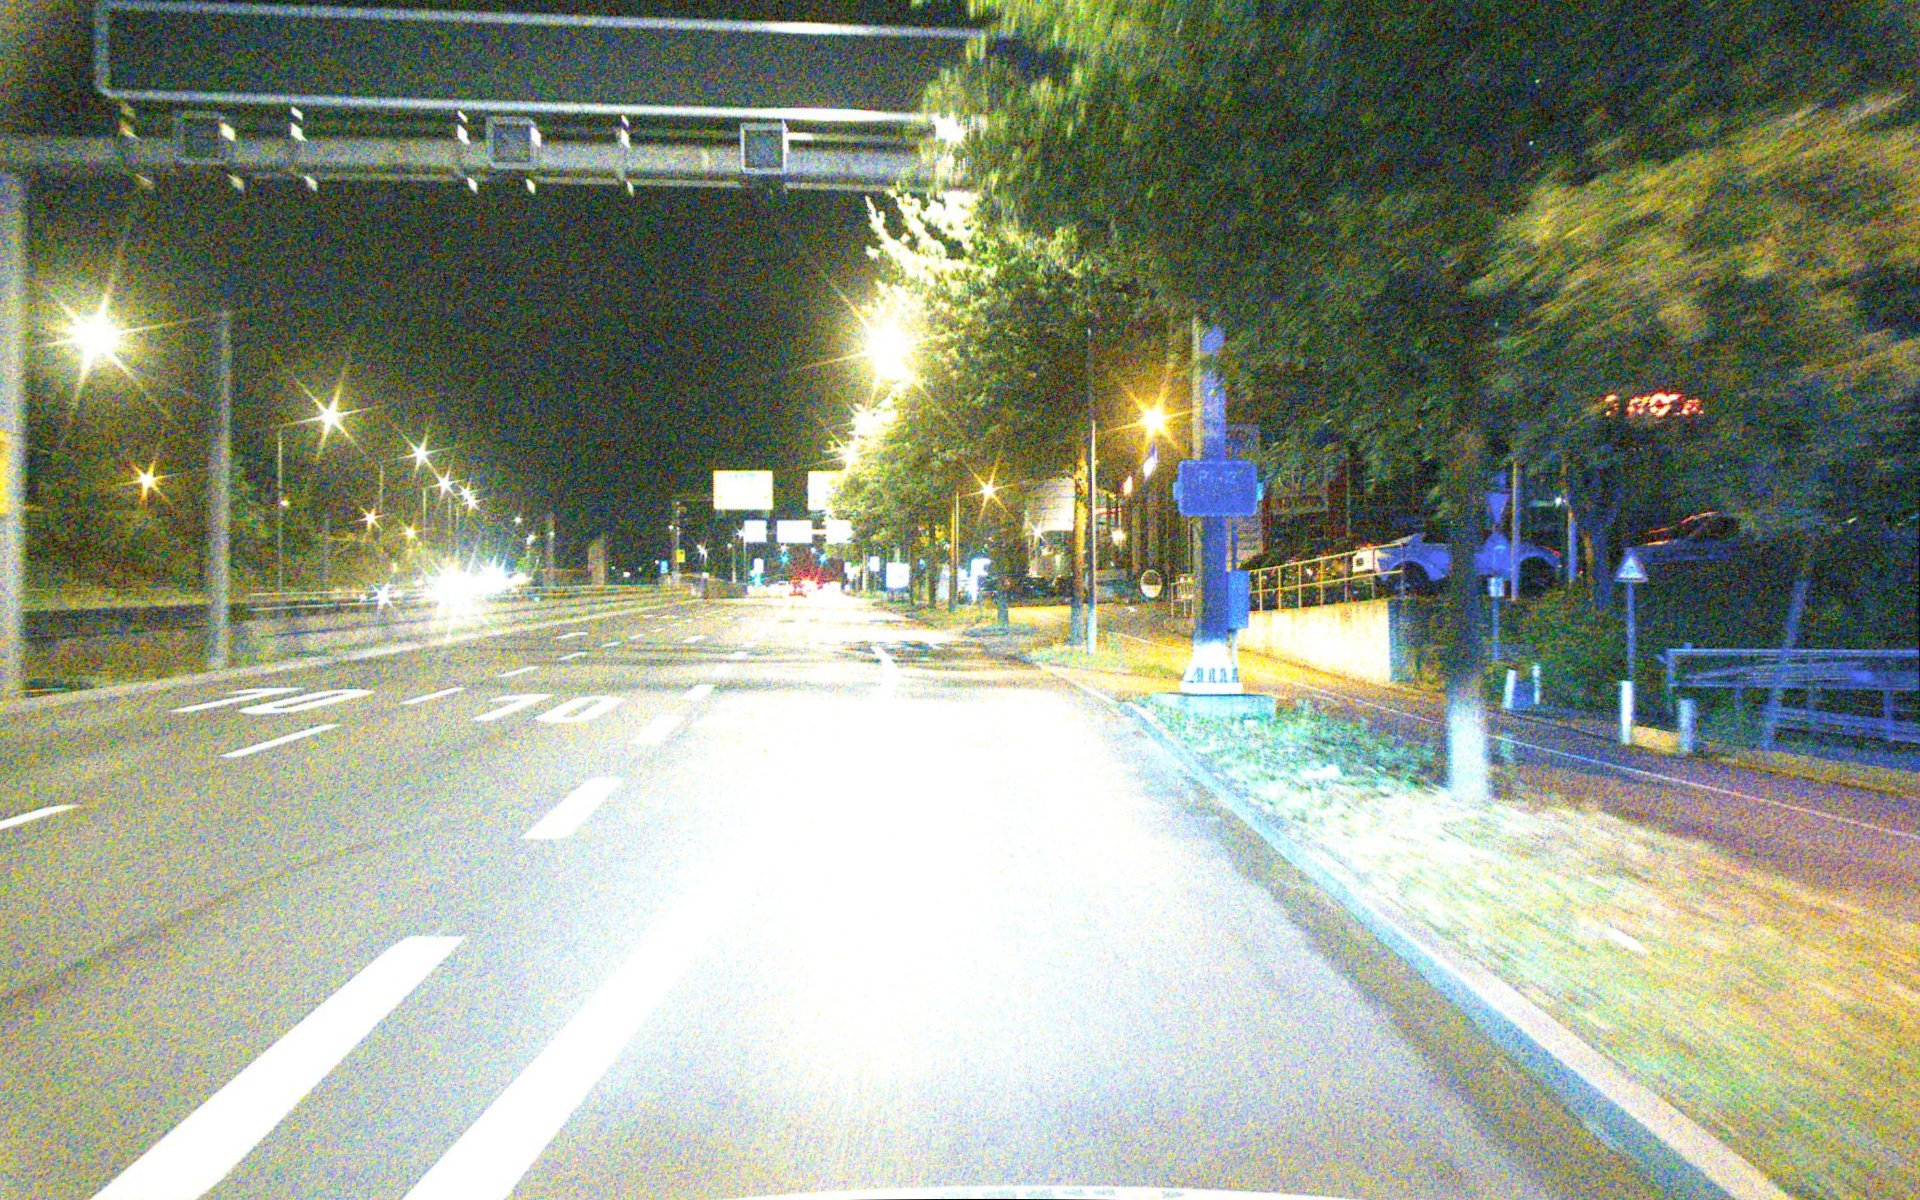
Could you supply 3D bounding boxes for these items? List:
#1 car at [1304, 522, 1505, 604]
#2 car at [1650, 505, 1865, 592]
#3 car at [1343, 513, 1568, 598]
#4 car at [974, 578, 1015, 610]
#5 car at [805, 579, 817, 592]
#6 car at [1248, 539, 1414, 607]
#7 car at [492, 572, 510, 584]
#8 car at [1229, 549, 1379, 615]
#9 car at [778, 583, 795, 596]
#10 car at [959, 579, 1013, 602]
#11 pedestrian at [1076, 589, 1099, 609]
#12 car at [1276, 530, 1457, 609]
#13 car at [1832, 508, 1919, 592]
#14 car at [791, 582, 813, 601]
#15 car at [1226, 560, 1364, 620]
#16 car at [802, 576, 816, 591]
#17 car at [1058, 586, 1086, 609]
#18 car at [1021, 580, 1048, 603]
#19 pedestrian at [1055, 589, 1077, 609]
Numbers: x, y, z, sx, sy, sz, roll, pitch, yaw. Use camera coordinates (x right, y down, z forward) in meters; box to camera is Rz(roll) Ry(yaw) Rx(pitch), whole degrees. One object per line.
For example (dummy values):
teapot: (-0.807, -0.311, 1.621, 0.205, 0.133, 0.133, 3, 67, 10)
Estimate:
car: (9.777, -0.797, 36.528, 3.908, 1.599, 1.737, -2, -1, -4)
car: (19.210, -1.224, 39.935, 4.273, 1.755, 1.750, -4, -1, -3)
car: (10.149, -0.892, 34.075, 4.038, 1.549, 1.821, -1, -2, -4)
car: (2.342, -0.409, 111.441, 1.951, 1.979, 4.003, 1, -1, 12)
car: (-22.836, -2.178, 253.583, 1.746, 1.758, 3.995, 2, -1, -6)
car: (9.216, -0.656, 41.261, 3.654, 1.515, 1.739, -2, -1, -7)
car: (-60.469, -2.885, 217.914, 1.593, 1.507, 3.675, 2, -1, -4)
car: (9.122, -0.464, 43.997, 3.497, 1.597, 1.723, -2, -1, -10)
car: (-22.858, -1.352, 217.884, 1.965, 1.579, 4.292, 2, -1, -3)
car: (1.805, -0.639, 116.409, 3.557, 1.476, 1.704, 2, -1, -9)
pedestrian: (6.885, -0.041, 89.394, 0.983, 1.025, 0.767, 2, -2, -21)
car: (9.497, -0.699, 38.808, 3.676, 1.615, 1.778, -3, -1, -7)
car: (19.120, -1.030, 32.006, 3.568, 1.496, 1.636, -4, -1, -2)
car: (-15.588, -0.843, 163.136, 1.929, 1.741, 3.997, 2, -1, -3)
car: (9.595, -0.297, 47.309, 3.801, 1.516, 1.718, -2, -2, -36)
car: (-22.622, -2.507, 247.550, 1.955, 2.049, 3.995, 2, -1, -6)
car: (8.128, -0.183, 119.901, 1.853, 1.538, 3.636, 1, -1, 2)
car: (5.309, -0.601, 118.347, 1.853, 1.538, 3.636, 1, -1, 2)
pedestrian: (5.712, -0.062, 89.335, 0.896, 1.056, 0.768, -1, -1, 38)
